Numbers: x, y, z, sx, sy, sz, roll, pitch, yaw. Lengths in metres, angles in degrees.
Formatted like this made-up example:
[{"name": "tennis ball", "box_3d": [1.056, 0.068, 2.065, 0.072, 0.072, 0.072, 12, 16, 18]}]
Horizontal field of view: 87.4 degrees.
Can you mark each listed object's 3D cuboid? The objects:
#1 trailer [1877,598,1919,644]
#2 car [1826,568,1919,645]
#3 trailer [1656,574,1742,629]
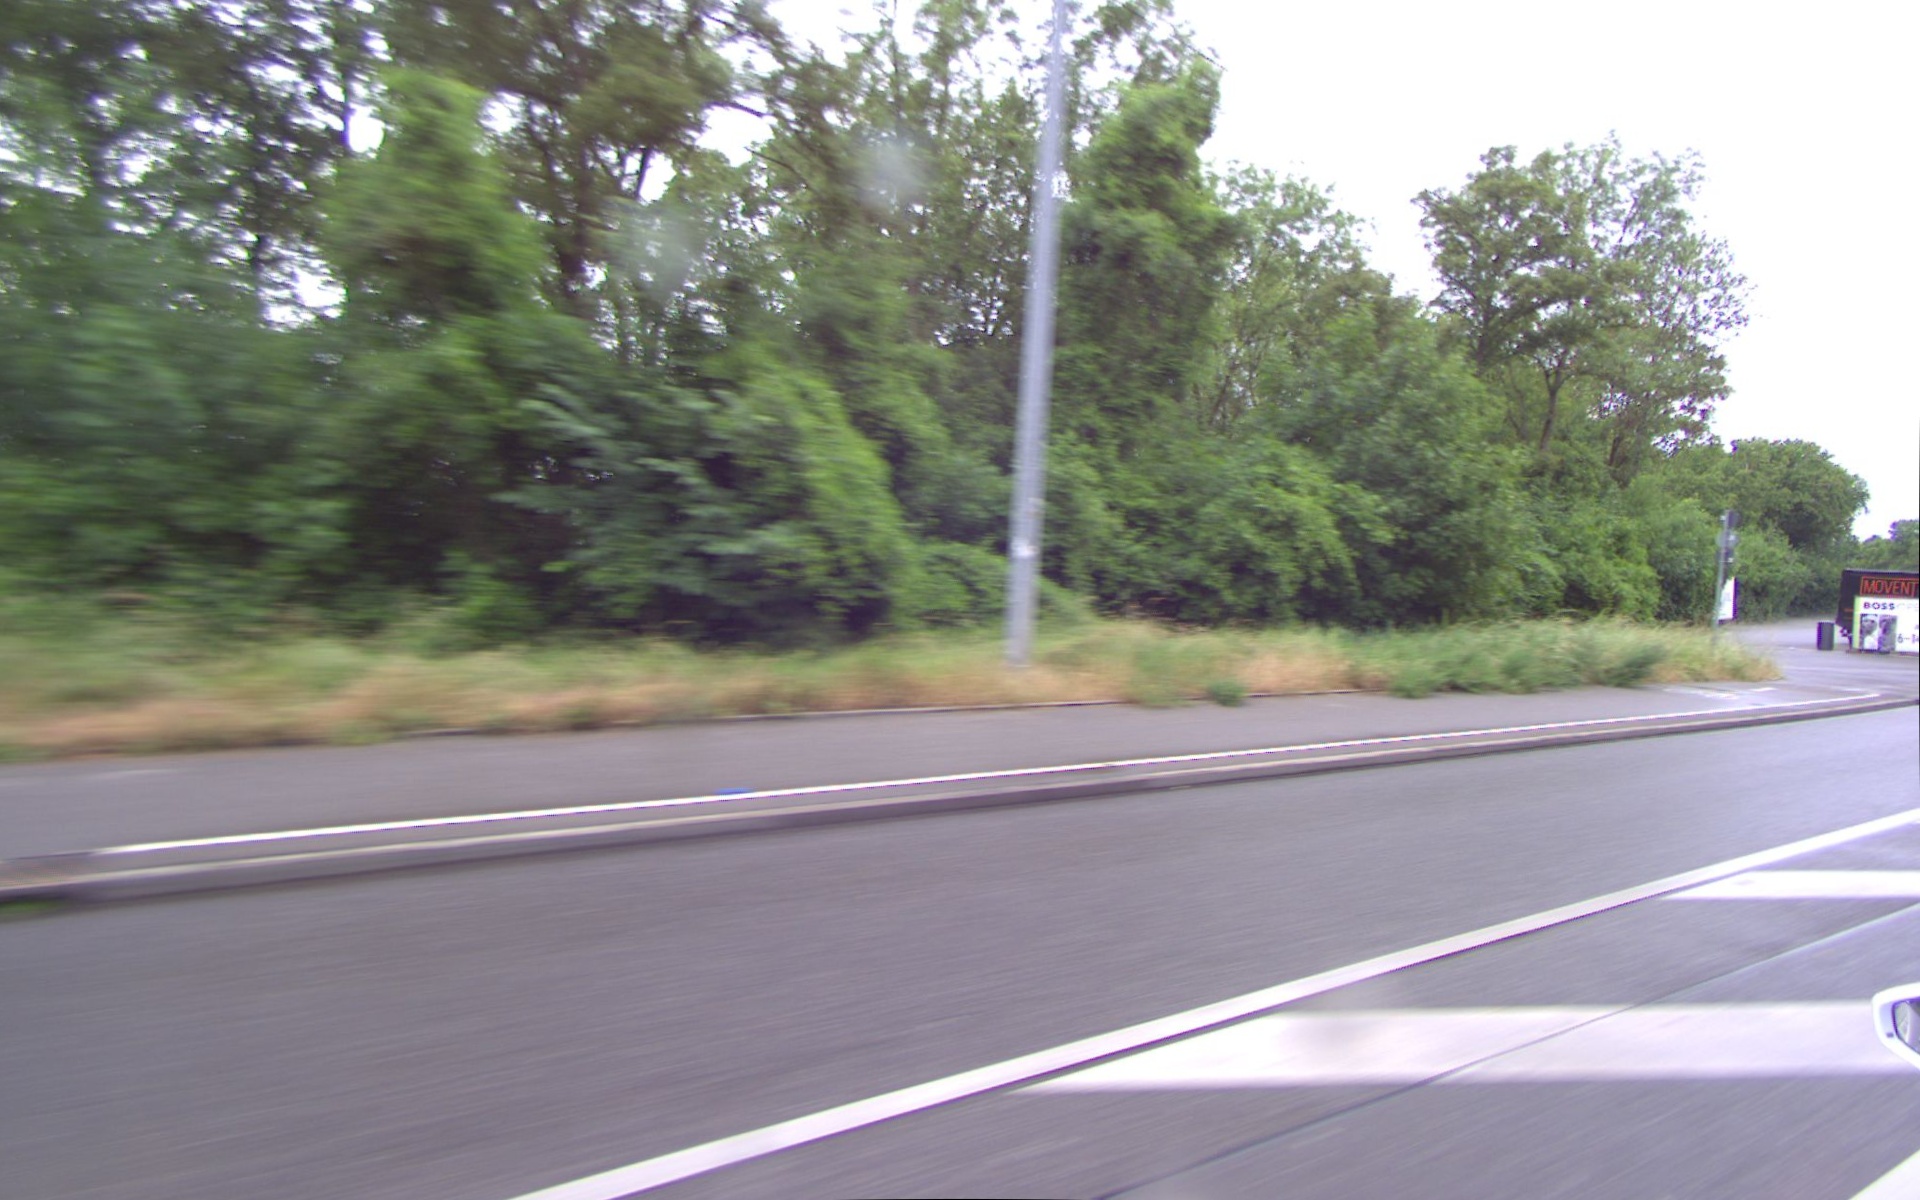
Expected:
[{"name": "trailer", "box_3d": [44.639, 1.008, 45.752, 1.857, 2.080, 3.955, 1, 1, -38]}, {"name": "car", "box_3d": [40.650, 0.332, 42.111, 2.731, 3.155, 6.215, 2, 1, -41]}, {"name": "trailer", "box_3d": [42.254, 0.120, 57.333, 7.919, 2.912, 2.453, 1, 1, -43]}]
